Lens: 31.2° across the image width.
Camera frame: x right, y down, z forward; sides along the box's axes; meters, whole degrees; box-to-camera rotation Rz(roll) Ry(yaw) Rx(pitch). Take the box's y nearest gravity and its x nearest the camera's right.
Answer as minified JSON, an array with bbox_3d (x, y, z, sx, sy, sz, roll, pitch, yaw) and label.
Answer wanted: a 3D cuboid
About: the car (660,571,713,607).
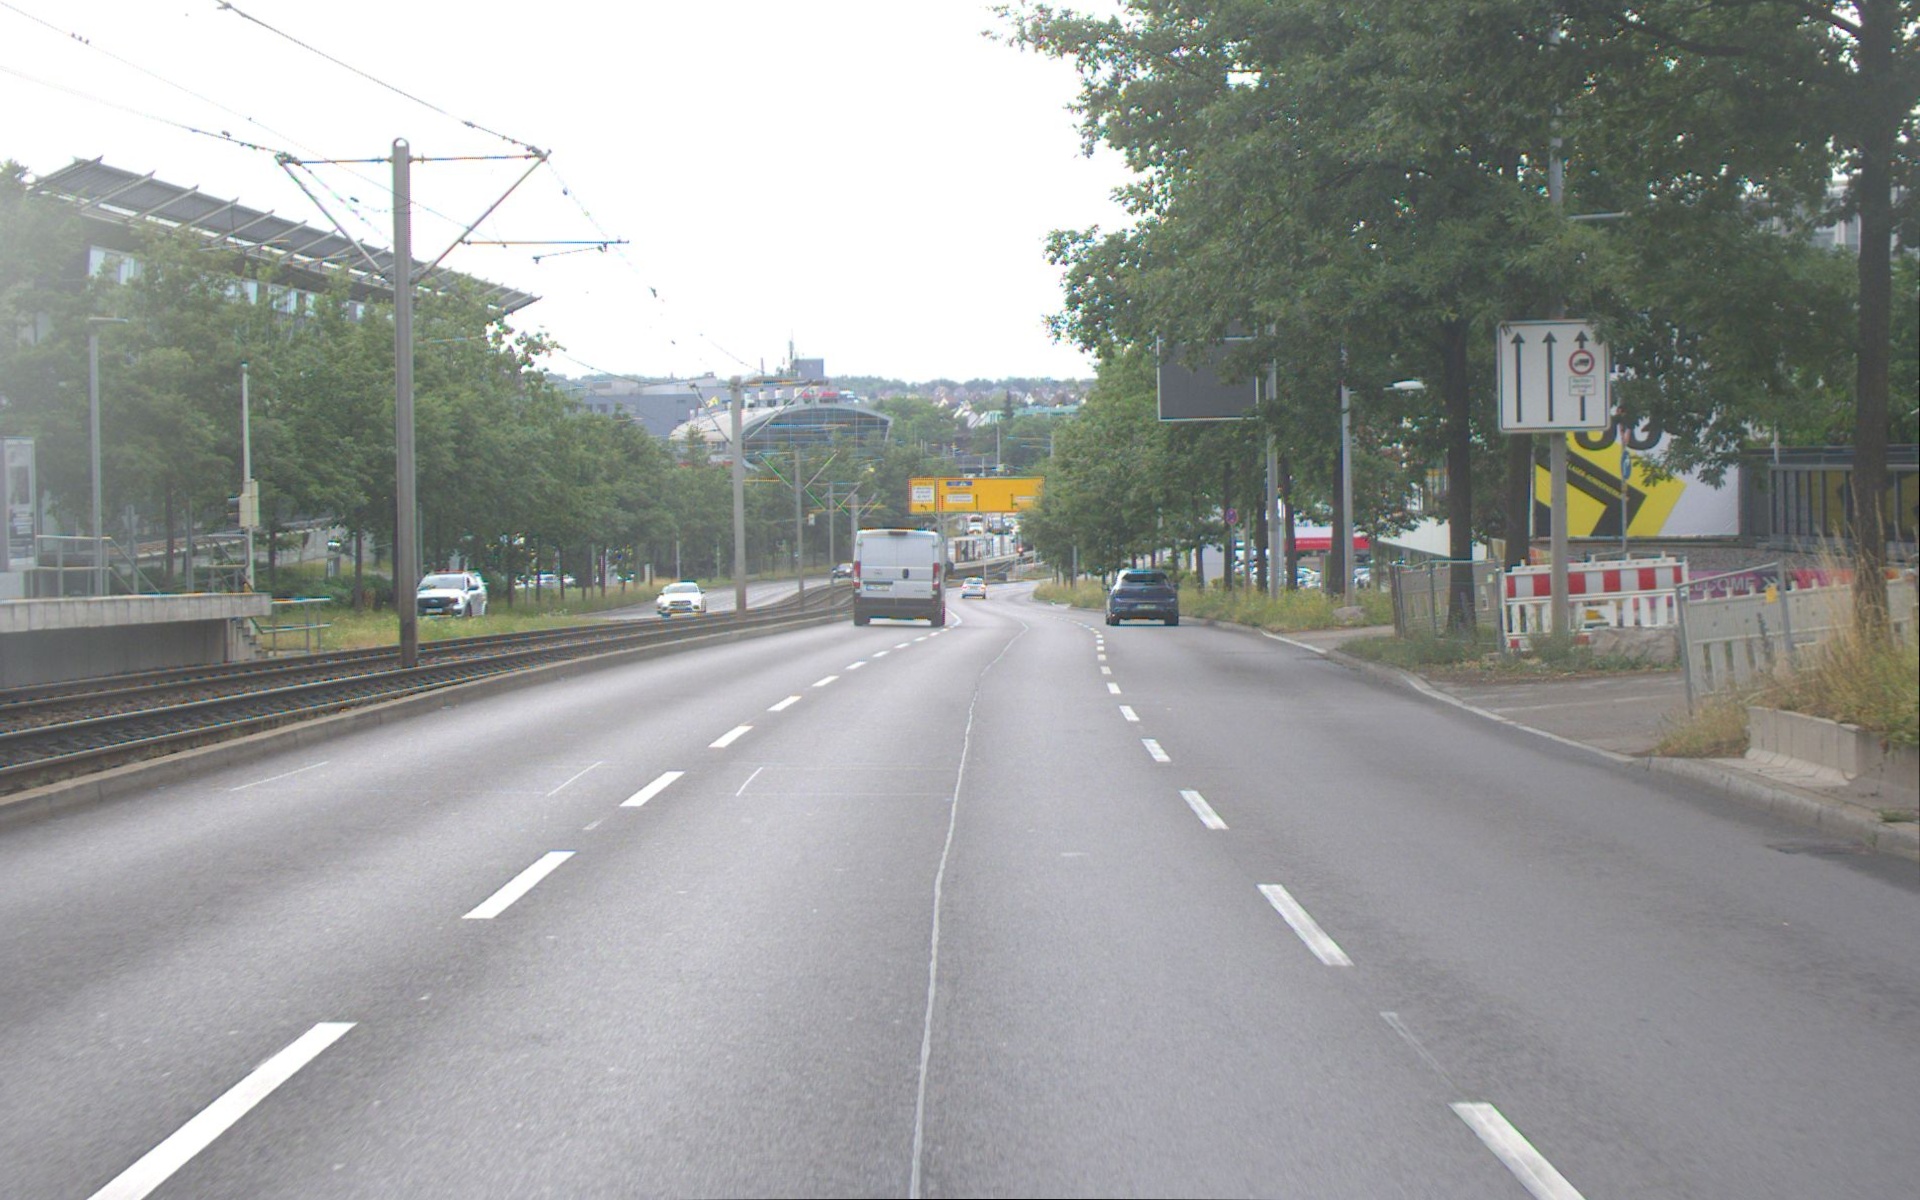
[{"bbox_3d":[-12.054,-0.495,151.714,1.837,1.439,4.428,-2,1,2],"label":"car"}]

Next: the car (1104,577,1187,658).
[{"bbox_3d":[4.769,0.432,88.692,1.993,2.007,3.934,1,0,1],"label":"car"}]

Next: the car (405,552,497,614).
[{"bbox_3d":[-16.056,-0.562,108.693,1.993,1.840,5.002,-2,1,1],"label":"car"}]

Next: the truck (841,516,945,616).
[{"bbox_3d":[-1.559,-0.798,81.354,2.360,2.254,5.306,1,0,-1],"label":"truck"}]
